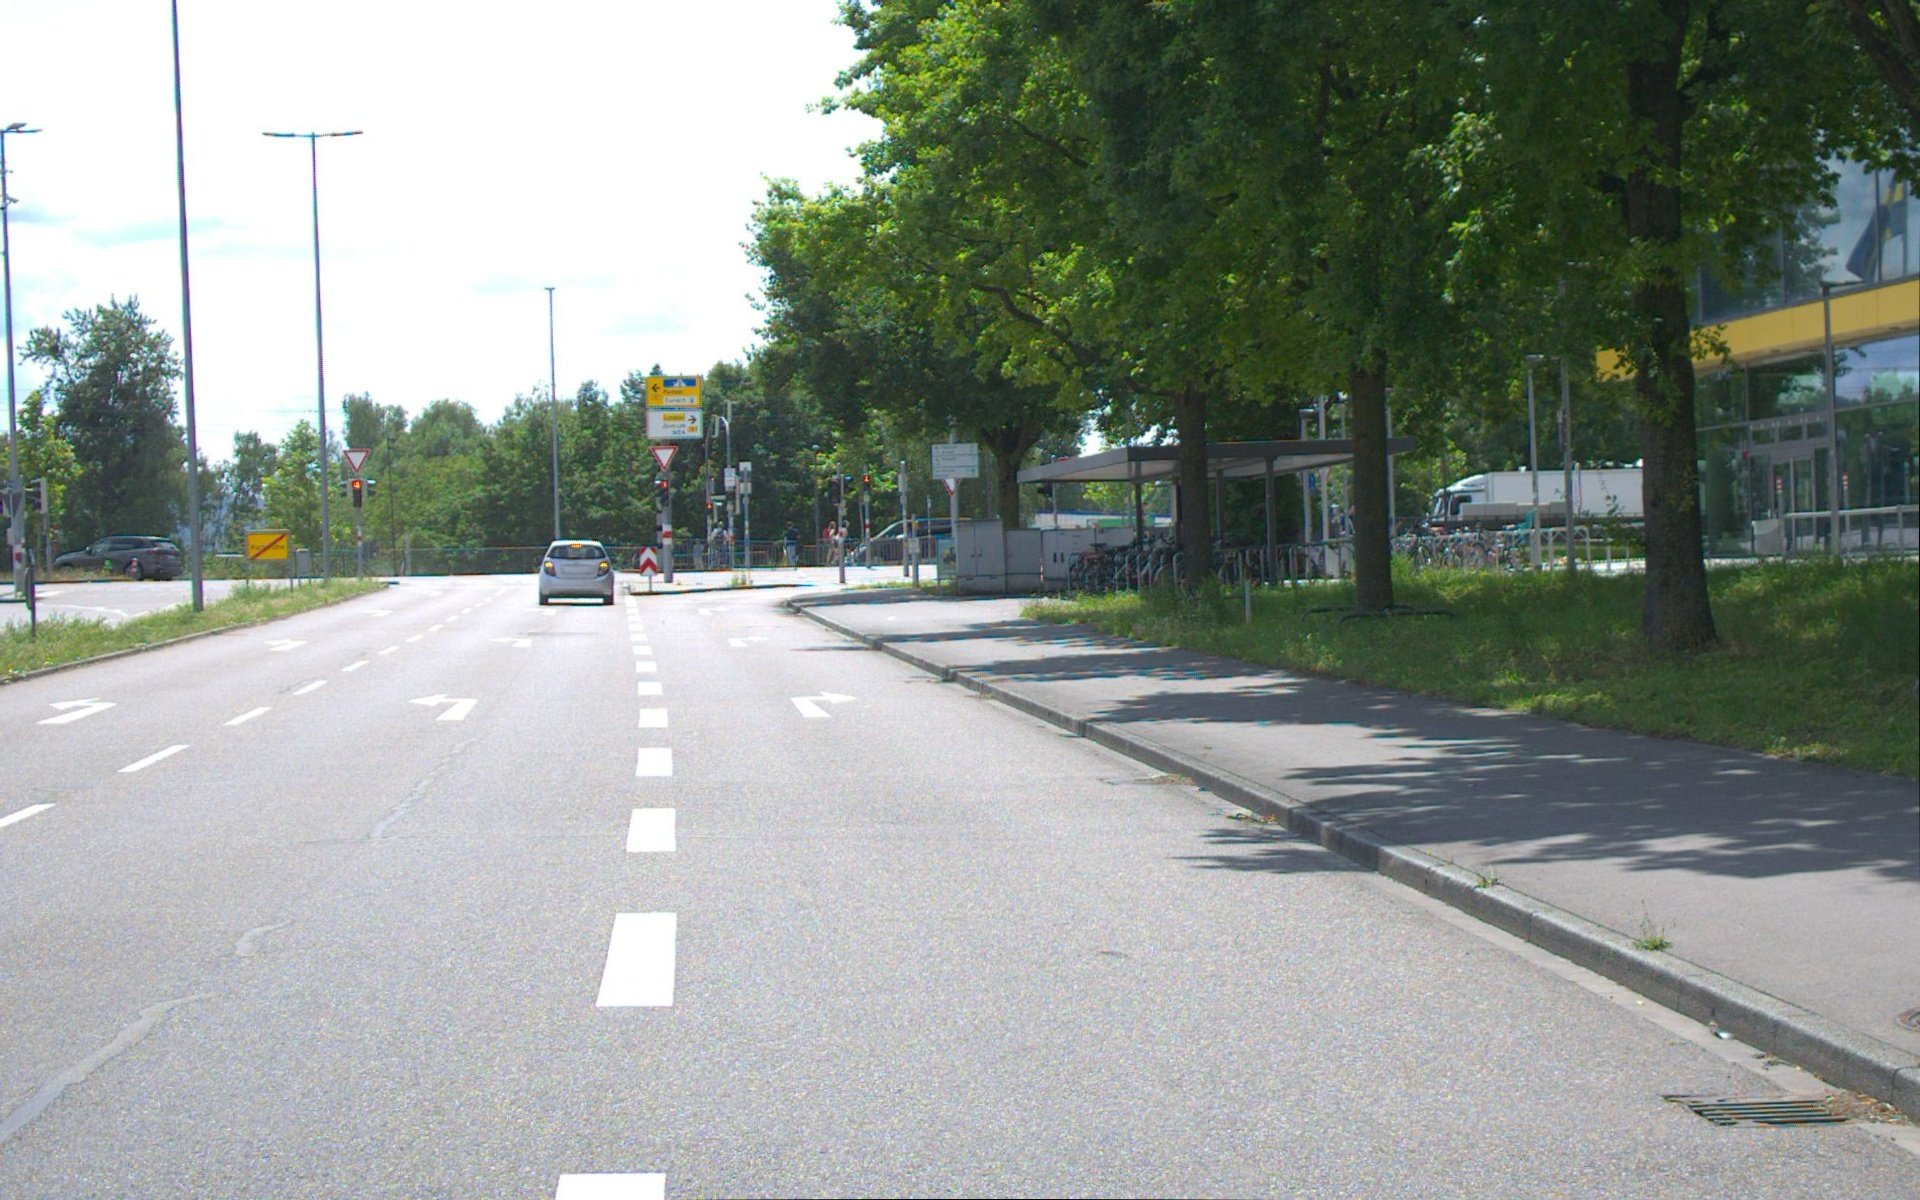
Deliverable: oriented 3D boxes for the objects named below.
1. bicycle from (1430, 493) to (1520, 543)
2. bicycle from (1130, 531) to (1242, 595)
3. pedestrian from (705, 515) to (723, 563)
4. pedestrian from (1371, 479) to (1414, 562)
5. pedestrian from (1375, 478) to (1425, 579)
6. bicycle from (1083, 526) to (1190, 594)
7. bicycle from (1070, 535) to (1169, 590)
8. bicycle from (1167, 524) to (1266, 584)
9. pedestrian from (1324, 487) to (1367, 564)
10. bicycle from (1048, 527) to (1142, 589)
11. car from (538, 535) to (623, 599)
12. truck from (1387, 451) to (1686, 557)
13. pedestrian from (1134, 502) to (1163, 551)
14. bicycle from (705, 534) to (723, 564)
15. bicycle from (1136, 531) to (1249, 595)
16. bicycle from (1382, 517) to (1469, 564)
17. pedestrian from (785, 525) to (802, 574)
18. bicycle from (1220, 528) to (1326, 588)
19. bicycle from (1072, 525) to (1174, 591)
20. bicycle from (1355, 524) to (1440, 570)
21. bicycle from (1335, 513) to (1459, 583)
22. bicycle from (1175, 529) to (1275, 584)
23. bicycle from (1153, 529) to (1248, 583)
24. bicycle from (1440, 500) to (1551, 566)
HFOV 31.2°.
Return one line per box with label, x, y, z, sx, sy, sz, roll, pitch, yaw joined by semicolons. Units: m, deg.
bicycle;11.306;-1.799;75.455;1.861;0.991;0.424;-4;0;-10
bicycle;3.990;-0.654;60.593;1.861;0.991;0.424;-4;1;-10
pedestrian;-9.137;-2.256;127.696;0.611;1.763;0.672;-2;1;-4
pedestrian;11.020;-2.020;87.552;1.008;2.065;0.974;-2;0;9
pedestrian;7.671;-1.248;59.913;0.634;1.716;0.523;-3;0;31
bicycle;3.288;-0.747;63.982;1.896;1.166;0.424;-3;1;-4
bicycle;3.145;-0.747;67.659;1.861;0.991;0.424;-3;1;-10
bicycle;5.094;-0.913;68.317;1.861;1.112;0.424;-3;1;-10
pedestrian;9.777;-1.876;87.202;1.008;1.896;0.974;-2;-1;9
bicycle;2.792;-0.874;71.127;1.861;1.183;0.424;-3;1;-10
car;-8.875;-0.798;80.684;1.894;1.465;3.834;0;1;-5
truck;24.155;-4.030;144.277;11.956;4.090;2.953;-2;1;-5
pedestrian;7.050;-2.736;128.577;0.926;1.801;0.736;-2;1;-6
bicycle;-9.133;-1.906;127.738;0.619;1.083;1.722;-2;1;-4
bicycle;4.070;-0.650;60.109;1.861;0.991;0.424;-4;1;-10
bicycle;10.480;-1.337;77.338;1.861;0.991;0.465;-2;1;-9
pedestrian;-5.971;-1.802;123.005;0.523;1.715;0.730;-2;1;-2
bicycle;5.865;-0.789;64.393;1.861;0.991;0.424;-4;0;-10
bicycle;3.142;-0.814;66.205;1.861;1.183;0.424;-3;1;-10
bicycle;10.154;-1.237;79.831;1.861;0.991;0.424;-2;1;-4
bicycle;7.552;-0.900;59.472;2.011;1.104;0.576;-3;1;33
bicycle;5.214;-0.850;67.676;1.861;0.991;0.424;-3;0;-10
bicycle;4.909;-0.898;70.223;1.861;1.030;0.424;-2;1;-4
bicycle;10.949;-1.373;70.335;2.140;1.225;0.721;-3;1;5
